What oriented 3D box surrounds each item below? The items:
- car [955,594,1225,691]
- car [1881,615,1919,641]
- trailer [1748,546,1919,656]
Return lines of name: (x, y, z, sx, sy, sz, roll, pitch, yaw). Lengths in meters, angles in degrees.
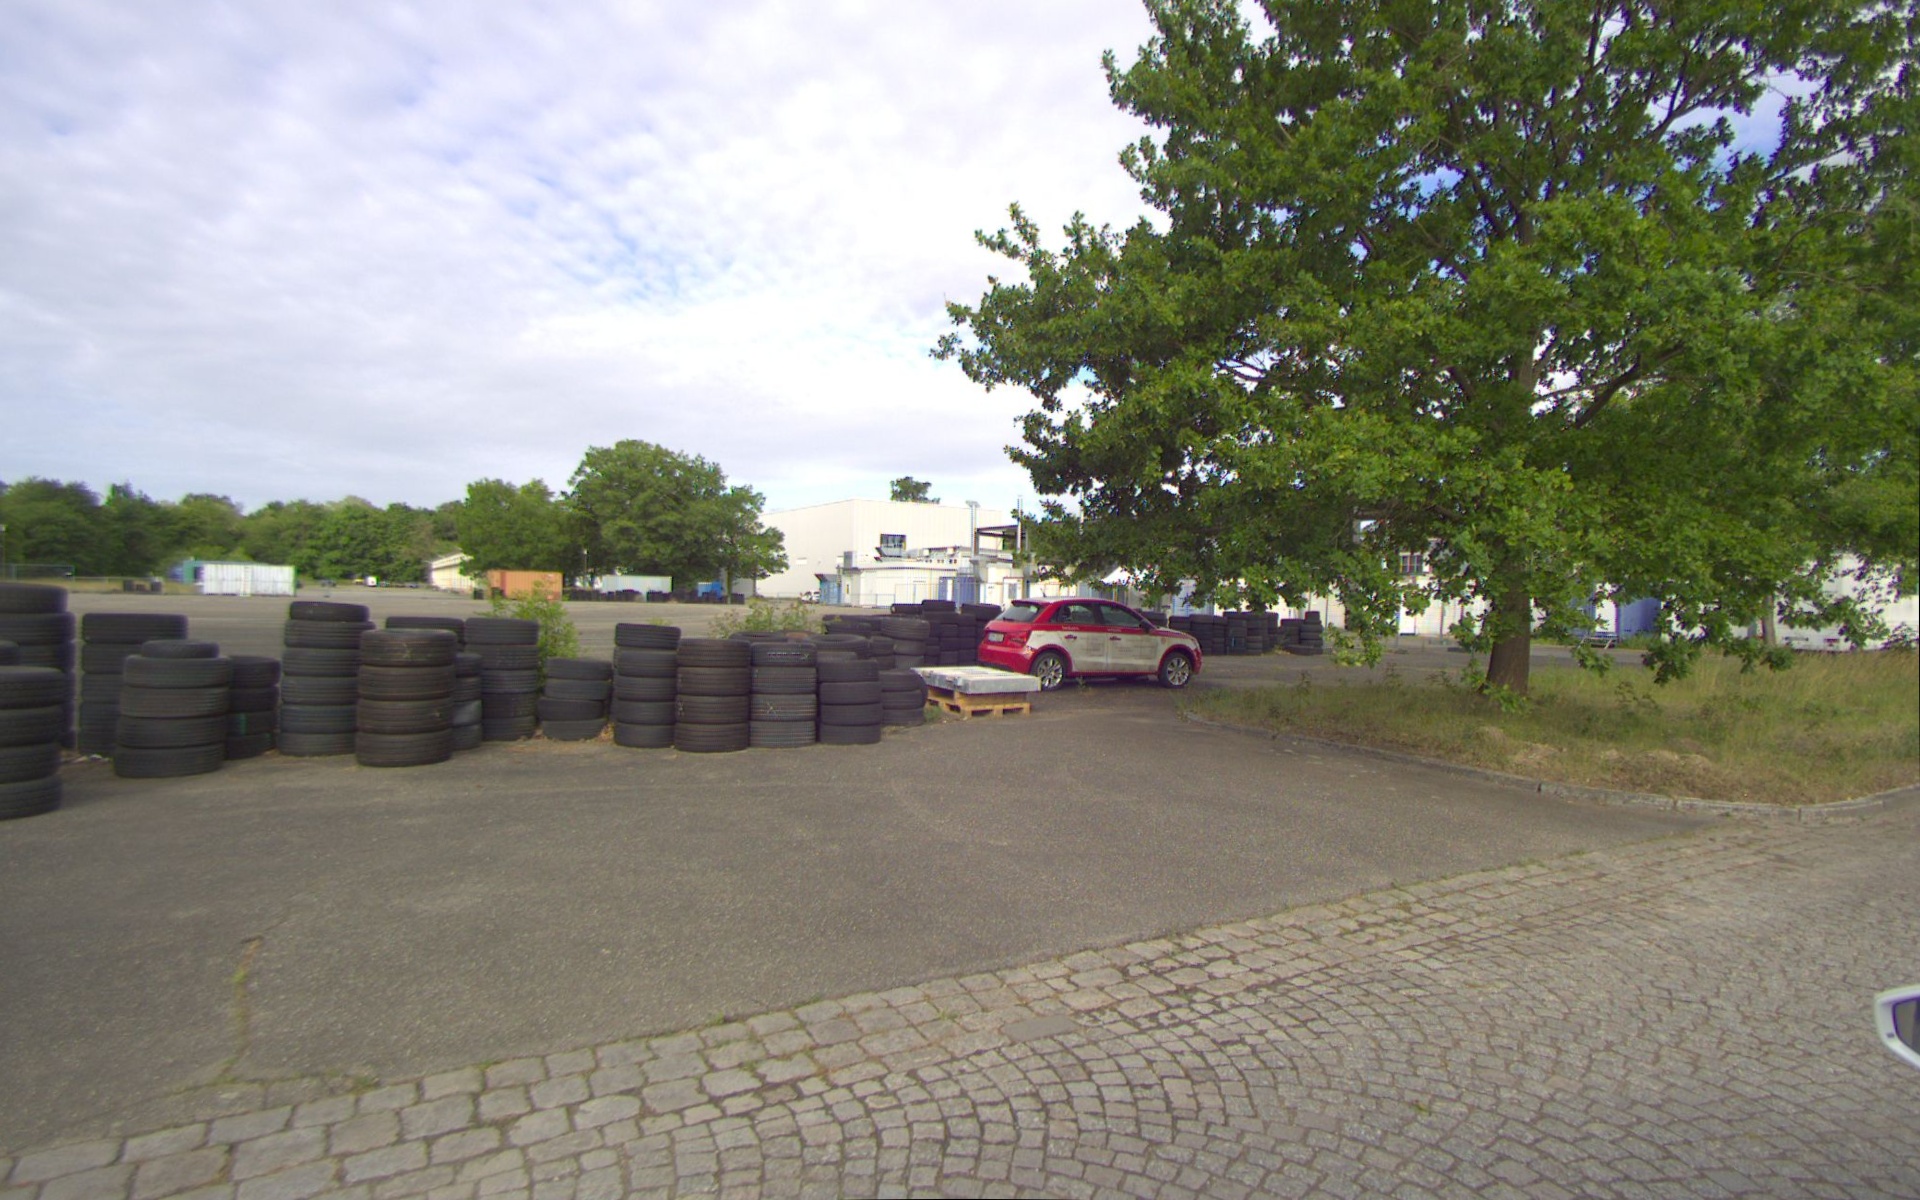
car: (2.190, 0.677, 16.818, 4.162, 1.451, 1.818, 1, 1, -25)
car: (62.629, 1.842, 66.088, 3.952, 1.596, 1.892, 1, 0, -30)
trailer: (34.044, 0.128, 38.047, 10.590, 3.755, 2.645, 1, 0, -29)
